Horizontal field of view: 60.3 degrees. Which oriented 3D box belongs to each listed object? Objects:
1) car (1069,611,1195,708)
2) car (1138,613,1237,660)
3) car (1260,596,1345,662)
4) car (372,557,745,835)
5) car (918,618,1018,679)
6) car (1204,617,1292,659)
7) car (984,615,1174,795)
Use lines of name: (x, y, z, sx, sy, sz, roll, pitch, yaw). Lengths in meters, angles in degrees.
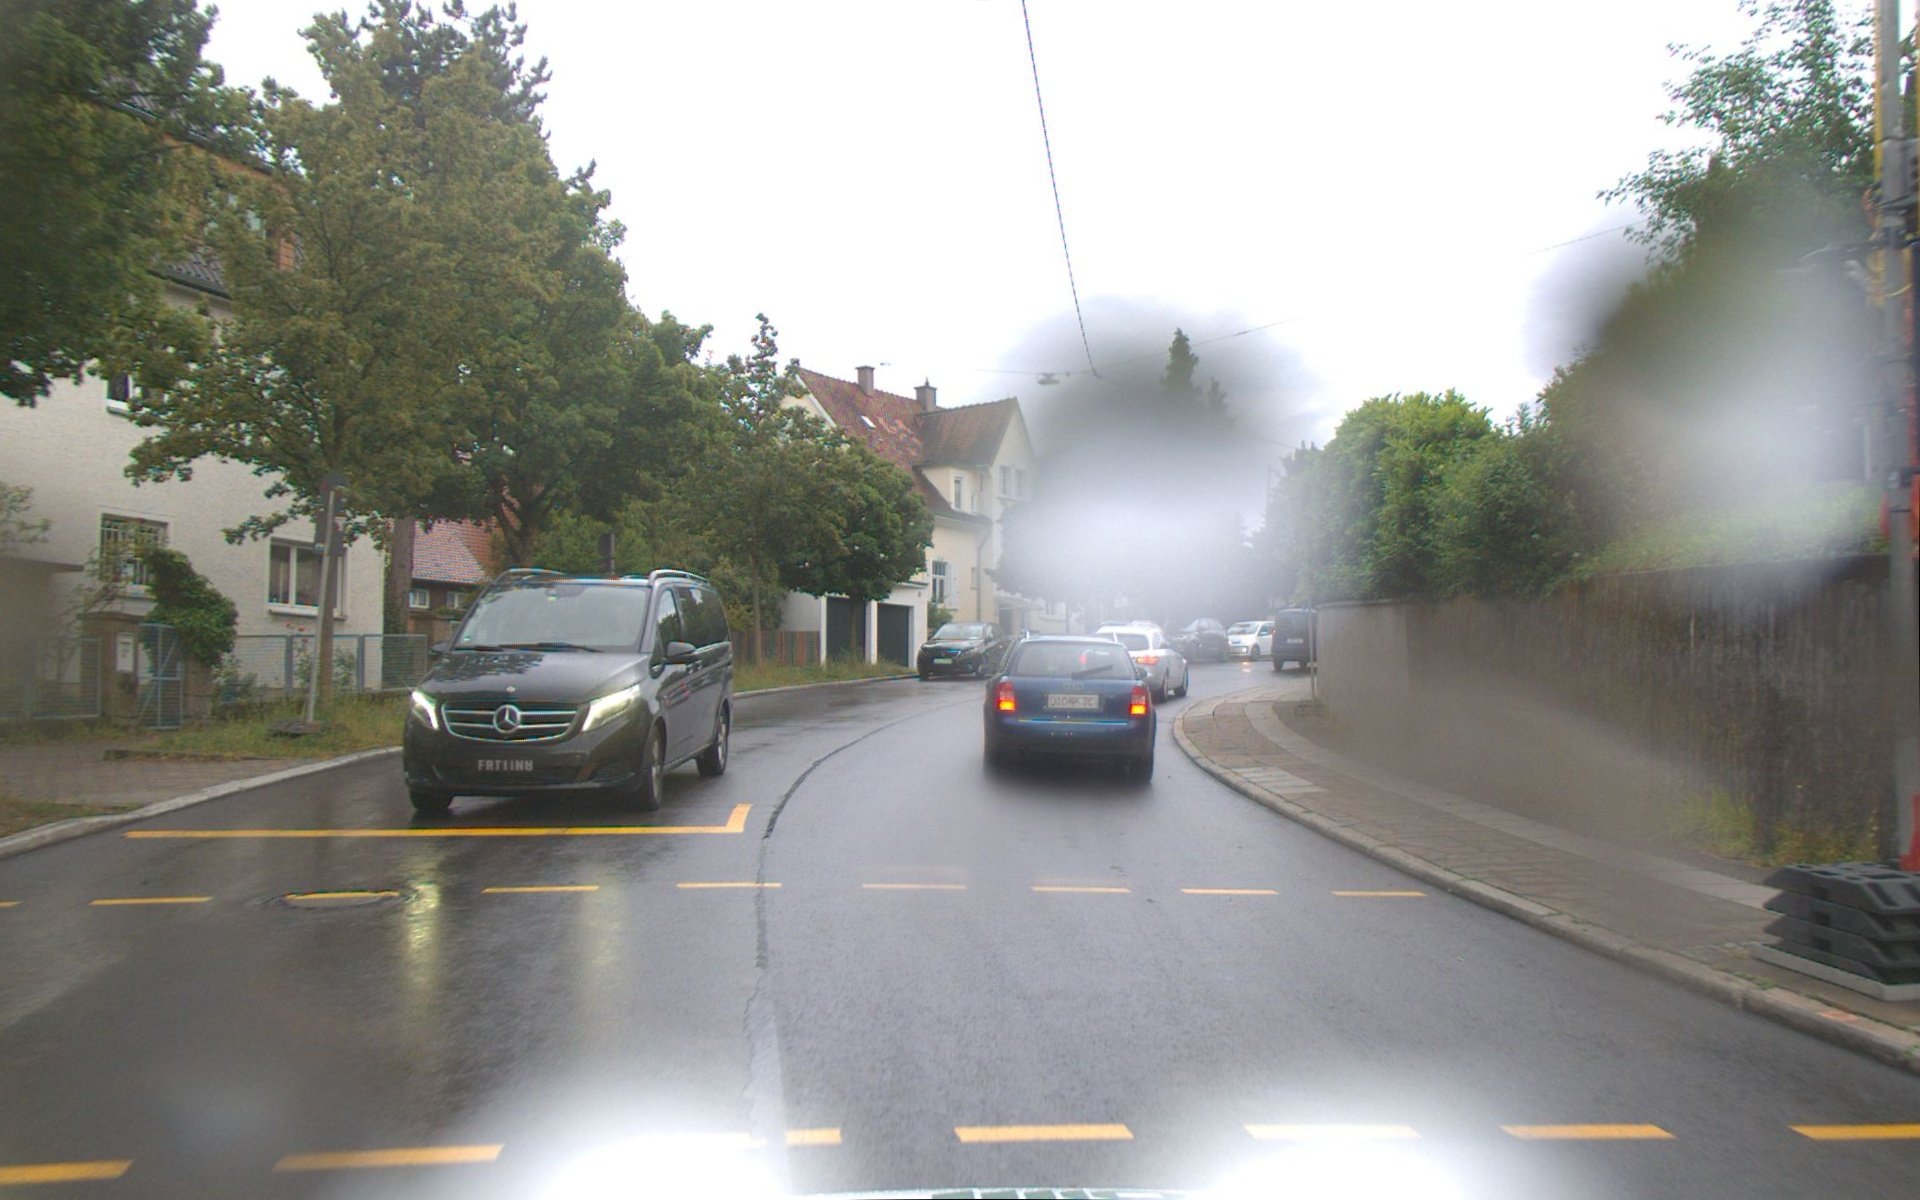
car: (3.623, 1.179, 34.125, 1.933, 1.663, 4.239, -2, 1, 14)
car: (8.061, 1.272, 58.358, 1.704, 1.572, 4.194, -1, -1, 35)
car: (10.798, 0.881, 51.923, 1.699, 1.799, 4.233, -2, 1, 24)
car: (-3.184, 0.711, 14.300, 1.858, 1.922, 5.153, -1, -1, 1)
car: (0.272, 1.251, 43.720, 1.634, 1.492, 3.897, -2, -1, 16)
car: (10.892, 1.415, 62.320, 1.704, 1.492, 3.985, -1, -1, 35)
car: (1.145, 1.006, 17.518, 1.698, 1.492, 4.001, -2, 1, 0)
